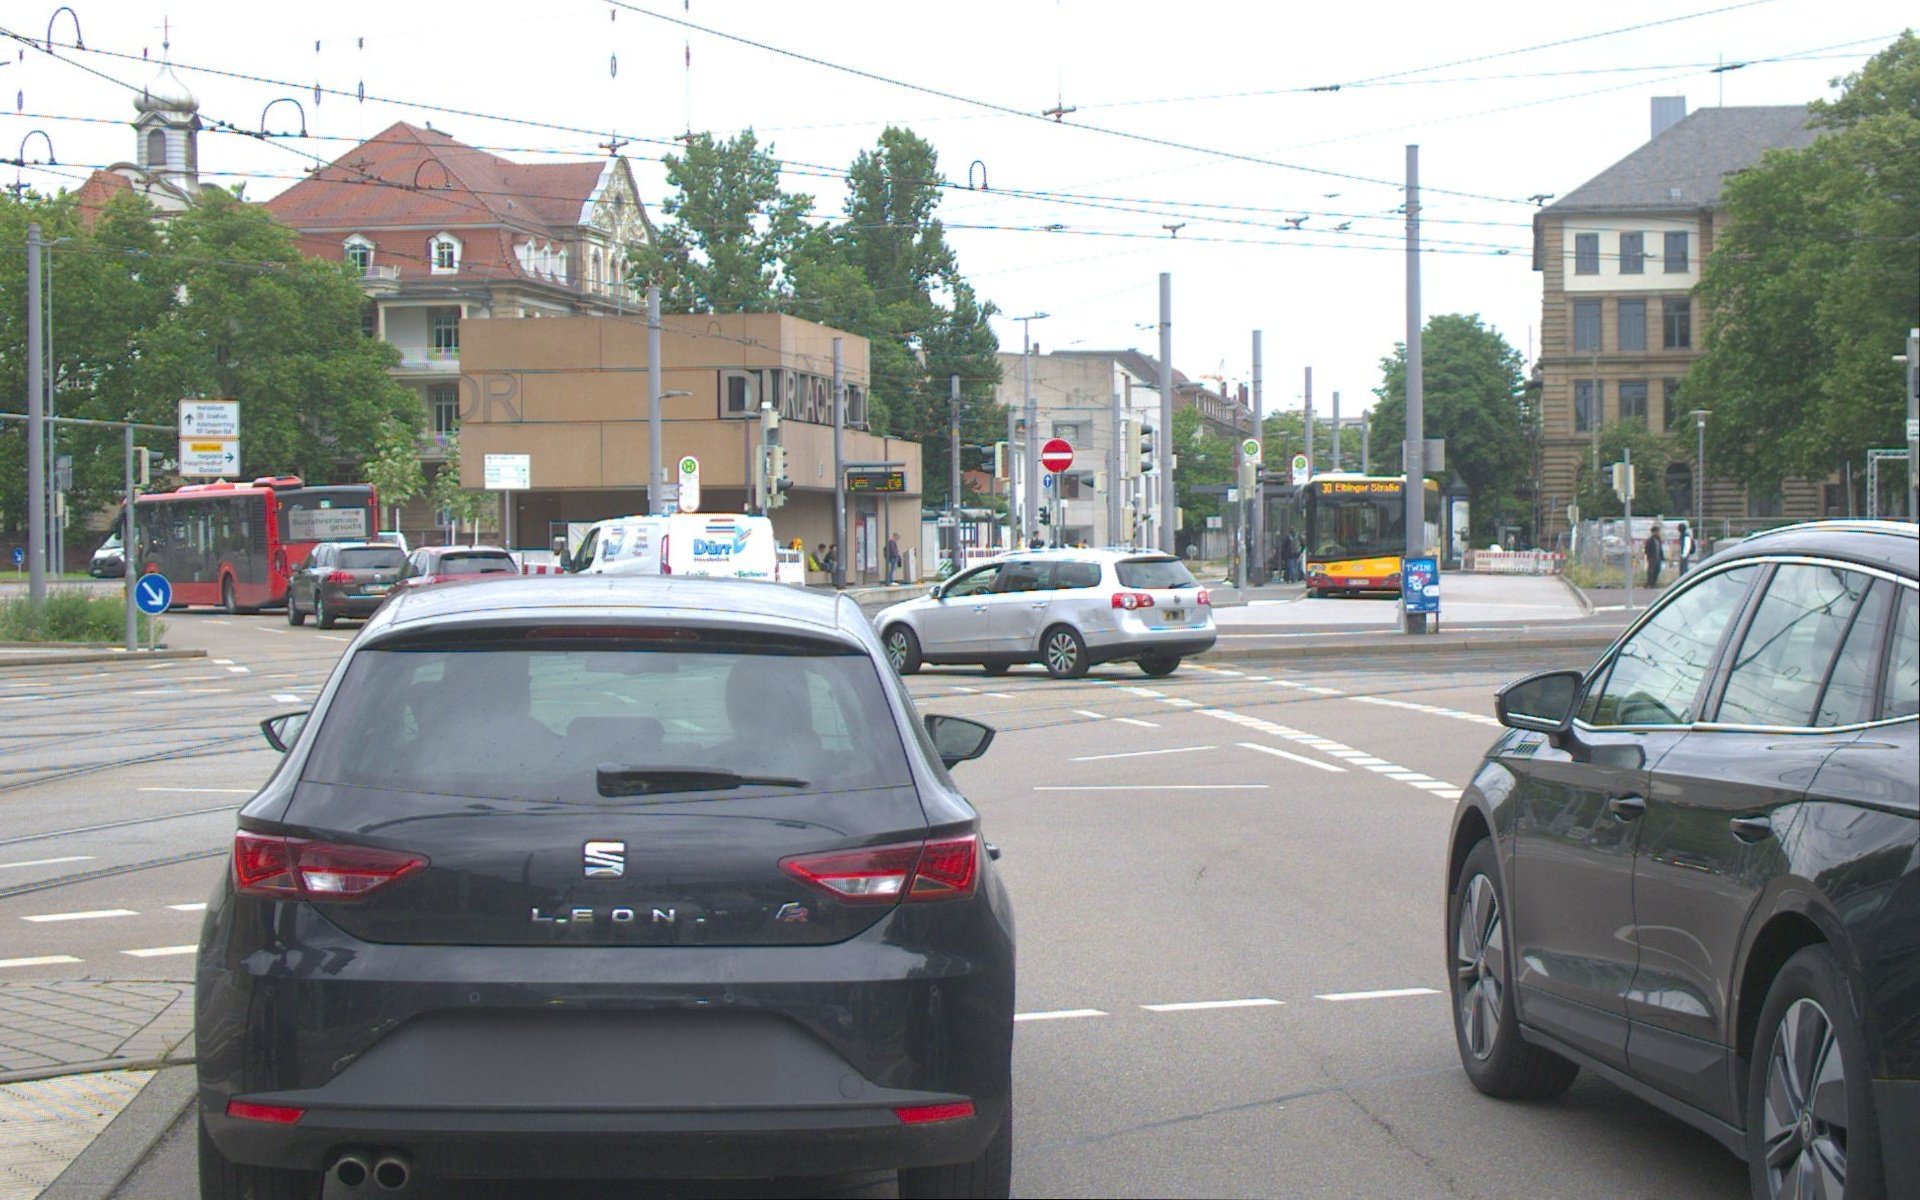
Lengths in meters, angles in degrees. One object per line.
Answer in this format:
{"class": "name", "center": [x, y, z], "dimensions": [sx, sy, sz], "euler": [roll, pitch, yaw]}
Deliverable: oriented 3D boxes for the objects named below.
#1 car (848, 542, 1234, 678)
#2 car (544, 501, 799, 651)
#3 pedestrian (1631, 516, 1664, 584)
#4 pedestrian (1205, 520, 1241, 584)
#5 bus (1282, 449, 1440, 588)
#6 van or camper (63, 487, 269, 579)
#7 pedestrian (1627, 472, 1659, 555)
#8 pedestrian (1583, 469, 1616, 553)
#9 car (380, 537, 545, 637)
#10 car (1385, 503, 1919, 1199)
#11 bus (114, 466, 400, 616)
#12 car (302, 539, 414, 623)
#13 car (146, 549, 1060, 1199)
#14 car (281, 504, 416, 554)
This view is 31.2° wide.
{"class": "car", "center": [0.907, 0.092, 40.698], "dimensions": [4.625, 1.477, 1.721], "euler": [0, 2, 45]}
{"class": "car", "center": [-4.186, -0.371, 49.024], "dimensions": [1.993, 2.012, 5.033], "euler": [-1, 1, -25]}
{"class": "pedestrian", "center": [18.951, -1.374, 94.777], "dimensions": [0.824, 1.847, 1.020], "euler": [0, 1, 14]}
{"class": "pedestrian", "center": [7.439, -1.370, 97.287], "dimensions": [0.824, 1.802, 1.020], "euler": [0, 1, 14]}
{"class": "bus", "center": [10.370, -2.050, 87.730], "dimensions": [3.018, 3.256, 13.037], "euler": [0, 1, 11]}
{"class": "van or camper", "center": [-30.212, -2.569, 130.990], "dimensions": [2.874, 3.321, 7.134], "euler": [-1, 0, 44]}
{"class": "pedestrian", "center": [35.063, -4.421, 176.530], "dimensions": [1.307, 4.239, 1.347], "euler": [0, 1, -1]}
{"class": "pedestrian", "center": [32.829, -4.561, 176.424], "dimensions": [1.387, 4.239, 1.347], "euler": [0, 1, -1]}
{"class": "car", "center": [-8.395, -0.252, 57.745], "dimensions": [1.857, 1.595, 4.206], "euler": [-1, 1, -21]}
{"class": "car", "center": [2.443, 0.605, 8.205], "dimensions": [1.903, 1.652, 4.516], "euler": [-1, 1, -5]}
{"class": "bus", "center": [-16.888, -1.365, 81.599], "dimensions": [3.058, 3.286, 12.380], "euler": [-1, 1, -29]}
{"class": "car", "center": [-11.739, -0.402, 66.852], "dimensions": [1.993, 1.560, 4.206], "euler": [-1, 1, -12]}
{"class": "car", "center": [-0.876, 0.616, 8.618], "dimensions": [1.745, 1.459, 4.001], "euler": [0, 1, -6]}
{"class": "car", "center": [-24.312, -2.834, 136.804], "dimensions": [1.998, 1.858, 4.992], "euler": [-4, -2, 45]}
